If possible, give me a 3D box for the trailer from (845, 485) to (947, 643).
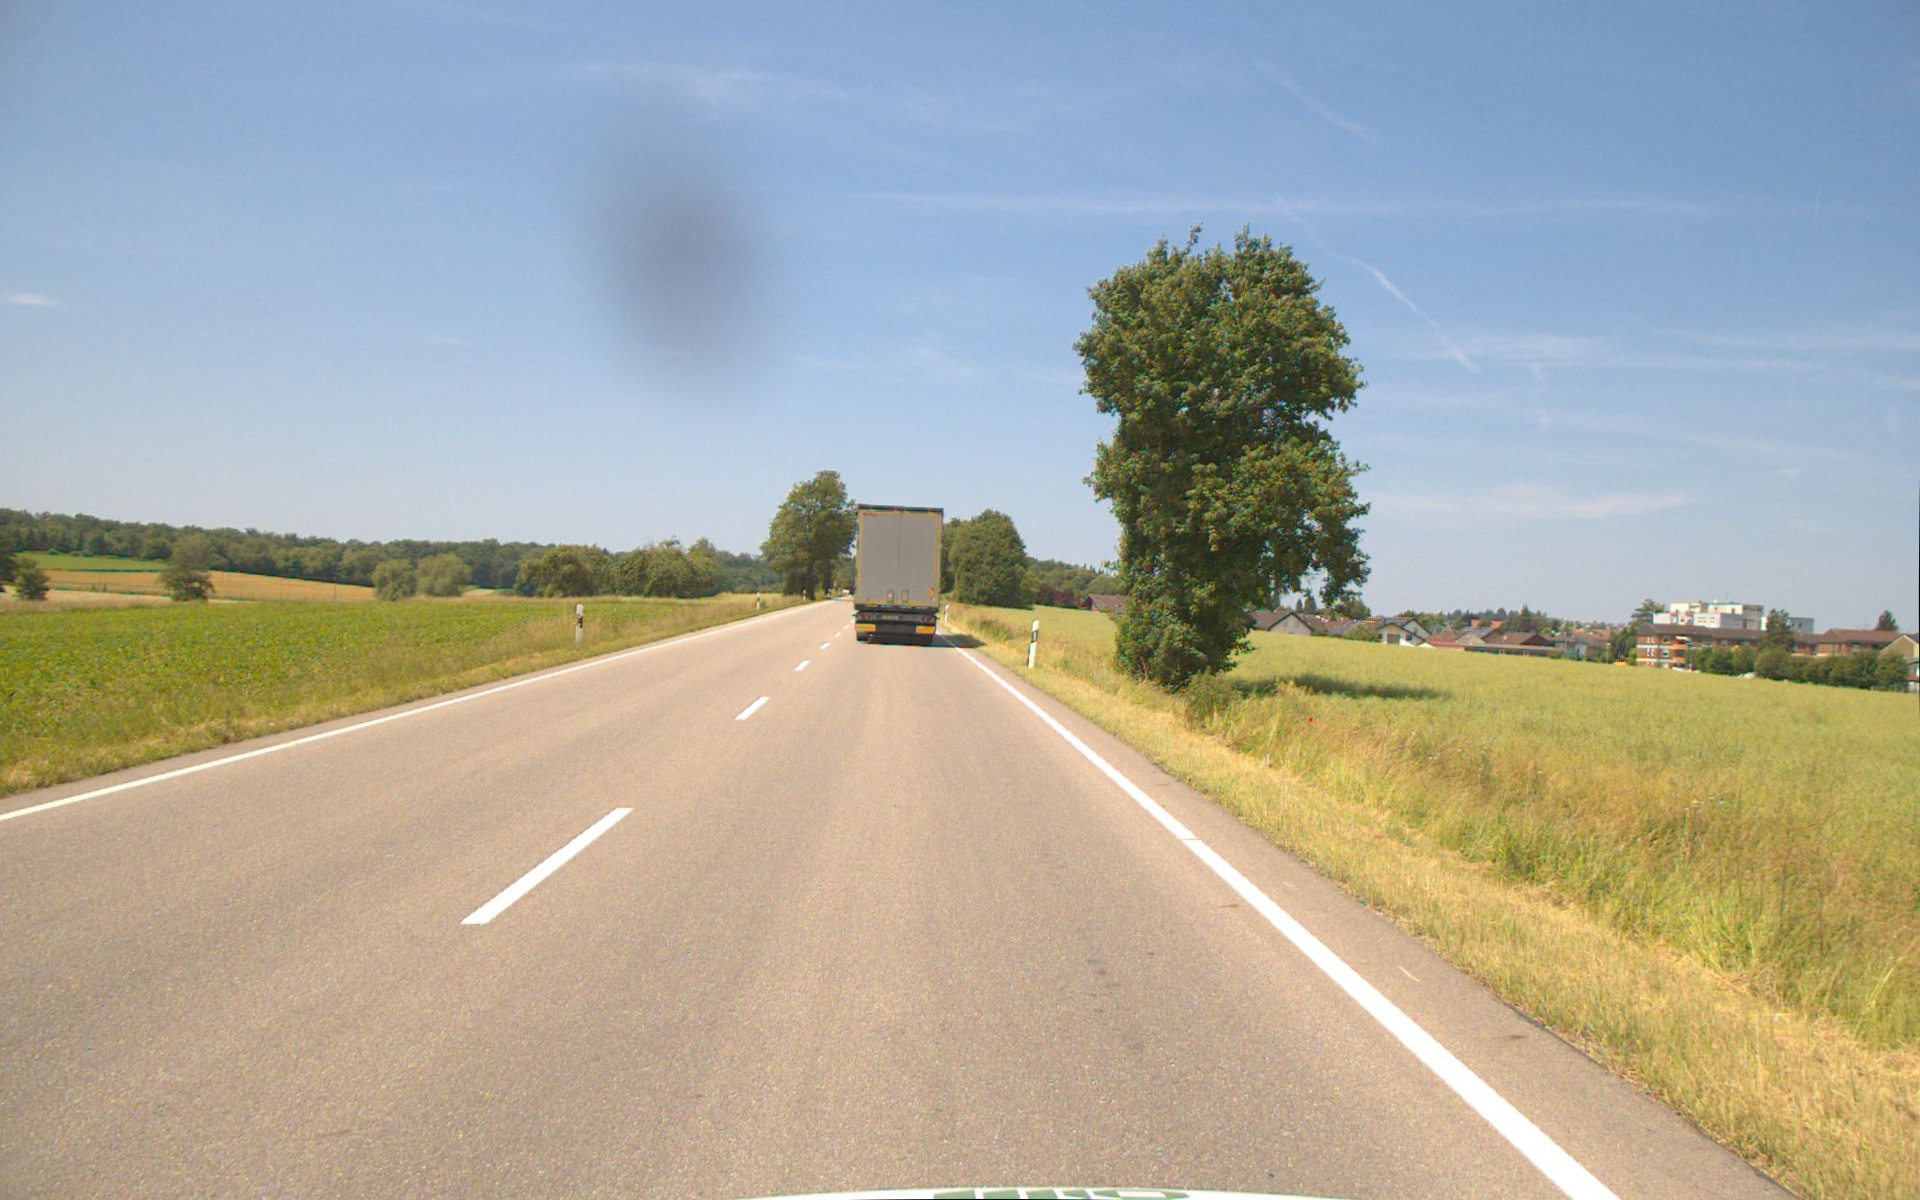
[{"bbox_3d":[-2.330,-1.090,54.687,2.810,4.477,13.481,2,0,-4],"label":"trailer"}]
